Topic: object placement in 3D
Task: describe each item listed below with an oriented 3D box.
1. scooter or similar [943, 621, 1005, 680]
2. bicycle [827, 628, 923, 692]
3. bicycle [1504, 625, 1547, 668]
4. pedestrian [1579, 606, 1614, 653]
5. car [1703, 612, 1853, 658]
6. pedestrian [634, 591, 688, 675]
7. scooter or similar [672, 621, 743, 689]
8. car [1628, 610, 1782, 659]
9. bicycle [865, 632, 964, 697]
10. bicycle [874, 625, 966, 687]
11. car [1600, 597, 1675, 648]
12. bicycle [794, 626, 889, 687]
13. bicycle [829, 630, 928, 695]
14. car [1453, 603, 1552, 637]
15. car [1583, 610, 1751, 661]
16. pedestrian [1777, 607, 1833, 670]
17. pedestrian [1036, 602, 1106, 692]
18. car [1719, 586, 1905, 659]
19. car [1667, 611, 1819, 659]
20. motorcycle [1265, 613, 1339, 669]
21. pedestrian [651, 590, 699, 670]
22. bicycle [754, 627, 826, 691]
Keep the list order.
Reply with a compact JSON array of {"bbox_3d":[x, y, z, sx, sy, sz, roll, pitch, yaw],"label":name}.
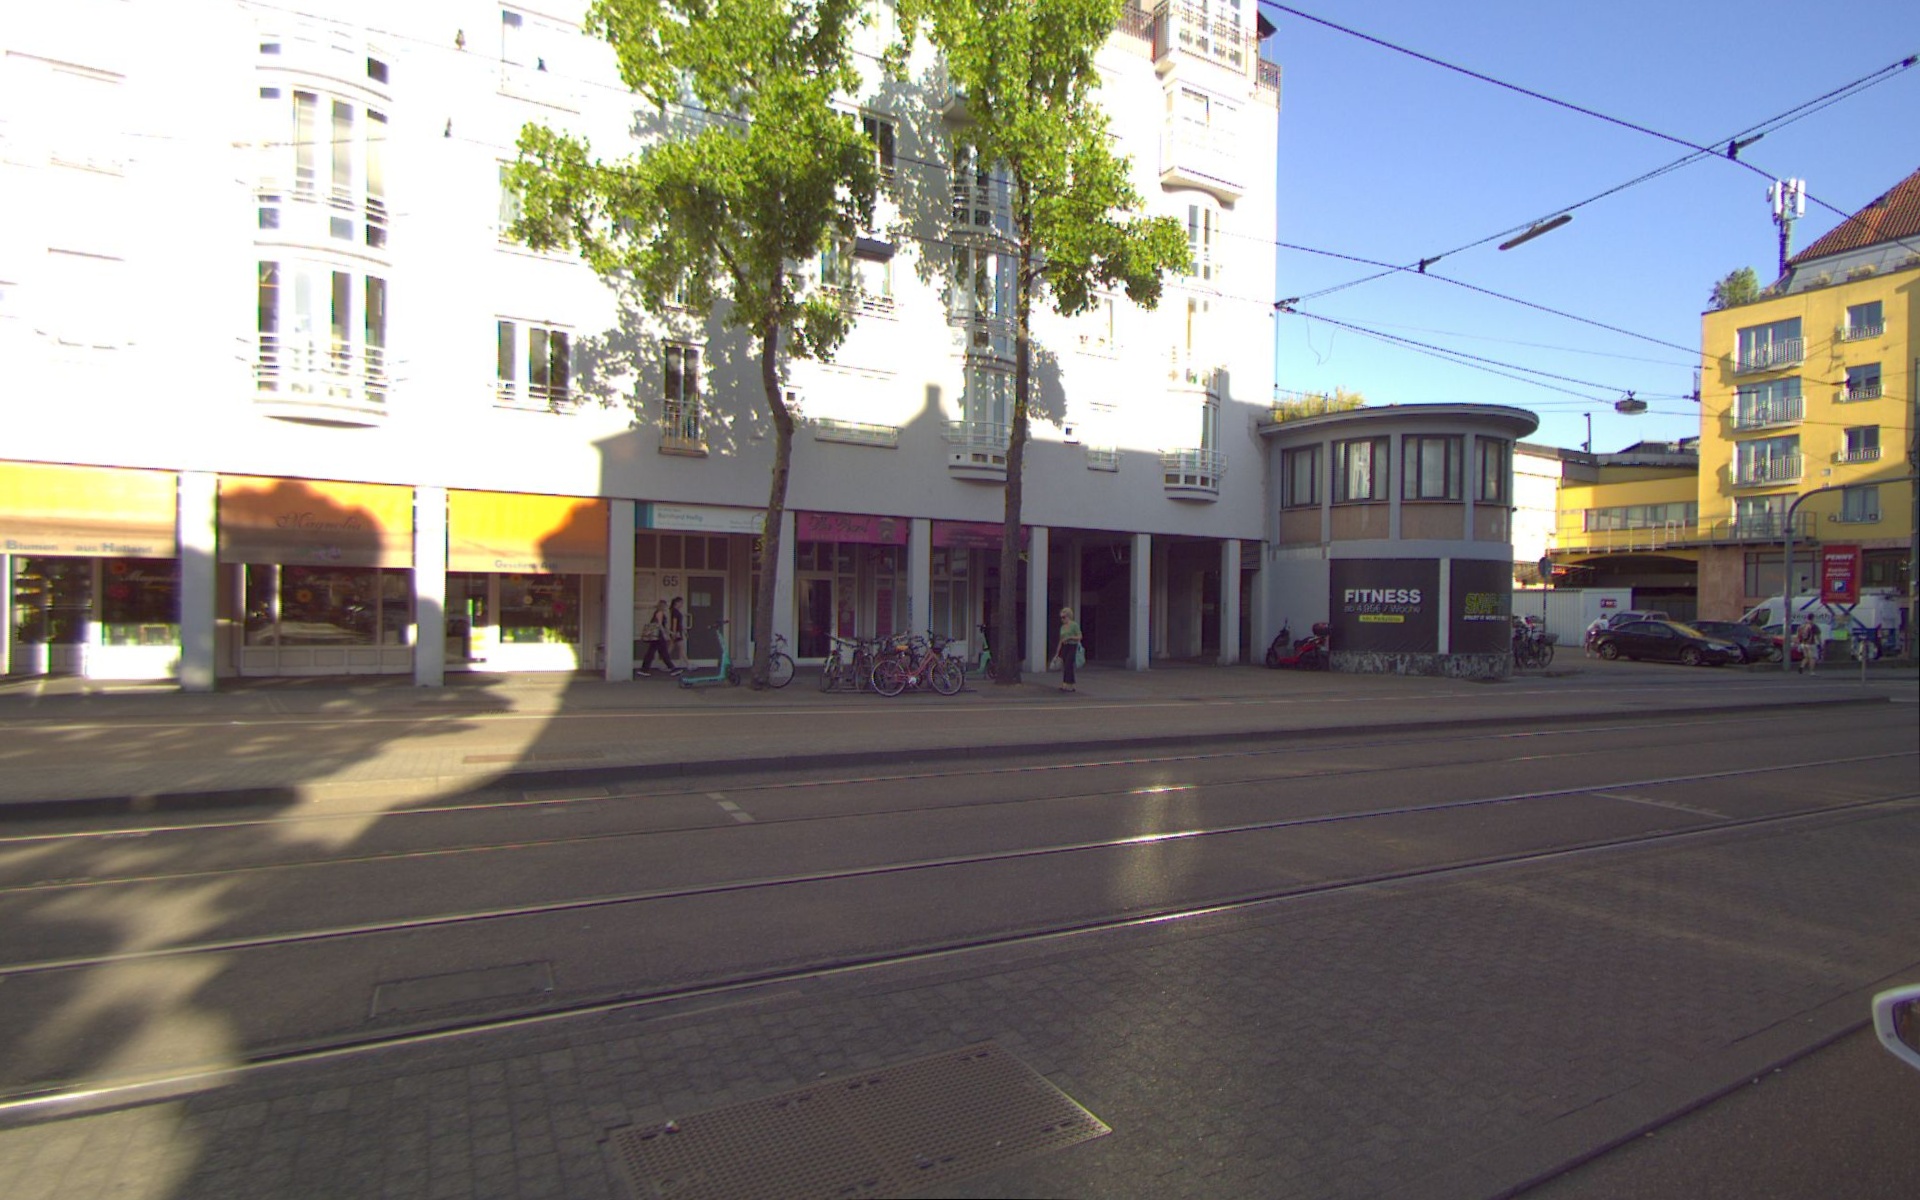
[{"bbox_3d":[0.301,1.071,21.519,1.256,1.209,0.496,1,0,-29],"label":"scooter or similar"},{"bbox_3d":[-1.611,1.127,19.138,1.778,1.122,0.496,0,3,-30],"label":"bicycle"},{"bbox_3d":[15.563,1.274,27.614,1.787,1.122,0.494,1,0,-43],"label":"bicycle"},{"bbox_3d":[23.009,1.057,36.296,0.873,1.674,0.764,1,1,18],"label":"pedestrian"},{"bbox_3d":[30.562,1.260,37.639,1.778,1.530,3.970,1,0,-28],"label":"car"},{"bbox_3d":[-6.225,0.670,20.901,0.870,1.684,0.853,1,2,-32],"label":"pedestrian"},{"bbox_3d":[-4.695,1.004,18.696,1.252,1.209,0.498,0,3,-18],"label":"scooter or similar"},{"bbox_3d":[26.089,1.181,35.293,1.778,1.530,3.970,1,0,-28],"label":"car"},{"bbox_3d":[-0.831,1.174,18.632,1.778,1.122,0.496,0,3,-30],"label":"bicycle"},{"bbox_3d":[-0.803,1.108,20.219,1.763,1.122,0.500,2,3,11],"label":"bicycle"},{"bbox_3d":[31.608,1.015,46.850,3.965,2.237,1.780,1,1,-39],"label":"car"},{"bbox_3d":[-2.302,1.083,19.534,1.771,1.122,0.498,1,3,-18],"label":"bicycle"},{"bbox_3d":[-1.502,1.147,18.708,1.778,1.122,0.496,0,3,-30],"label":"bicycle"},{"bbox_3d":[26.684,0.945,49.532,1.778,1.530,3.970,1,0,-28],"label":"car"},{"bbox_3d":[23.781,1.151,33.959,1.778,1.530,4.301,1,0,-28],"label":"car"},{"bbox_3d":[25.313,1.148,30.094,1.138,1.839,0.904,1,1,-28],"label":"pedestrian"},{"bbox_3d":[2.220,0.910,20.042,1.002,1.684,0.917,4,3,40],"label":"pedestrian"},{"bbox_3d":[32.801,0.792,38.864,2.102,2.610,5.084,1,0,-28],"label":"car"},{"bbox_3d":[28.339,1.221,36.492,1.778,1.530,3.970,1,0,-28],"label":"car"},{"bbox_3d":[9.052,1.070,26.655,0.600,1.315,1.782,0,3,-35],"label":"motorcycle"},{"bbox_3d":[-6.258,0.653,22.053,0.786,1.684,0.853,1,2,-32],"label":"pedestrian"},{"bbox_3d":[-3.147,1.092,18.640,1.247,1.122,0.500,1,3,-3],"label":"bicycle"}]
